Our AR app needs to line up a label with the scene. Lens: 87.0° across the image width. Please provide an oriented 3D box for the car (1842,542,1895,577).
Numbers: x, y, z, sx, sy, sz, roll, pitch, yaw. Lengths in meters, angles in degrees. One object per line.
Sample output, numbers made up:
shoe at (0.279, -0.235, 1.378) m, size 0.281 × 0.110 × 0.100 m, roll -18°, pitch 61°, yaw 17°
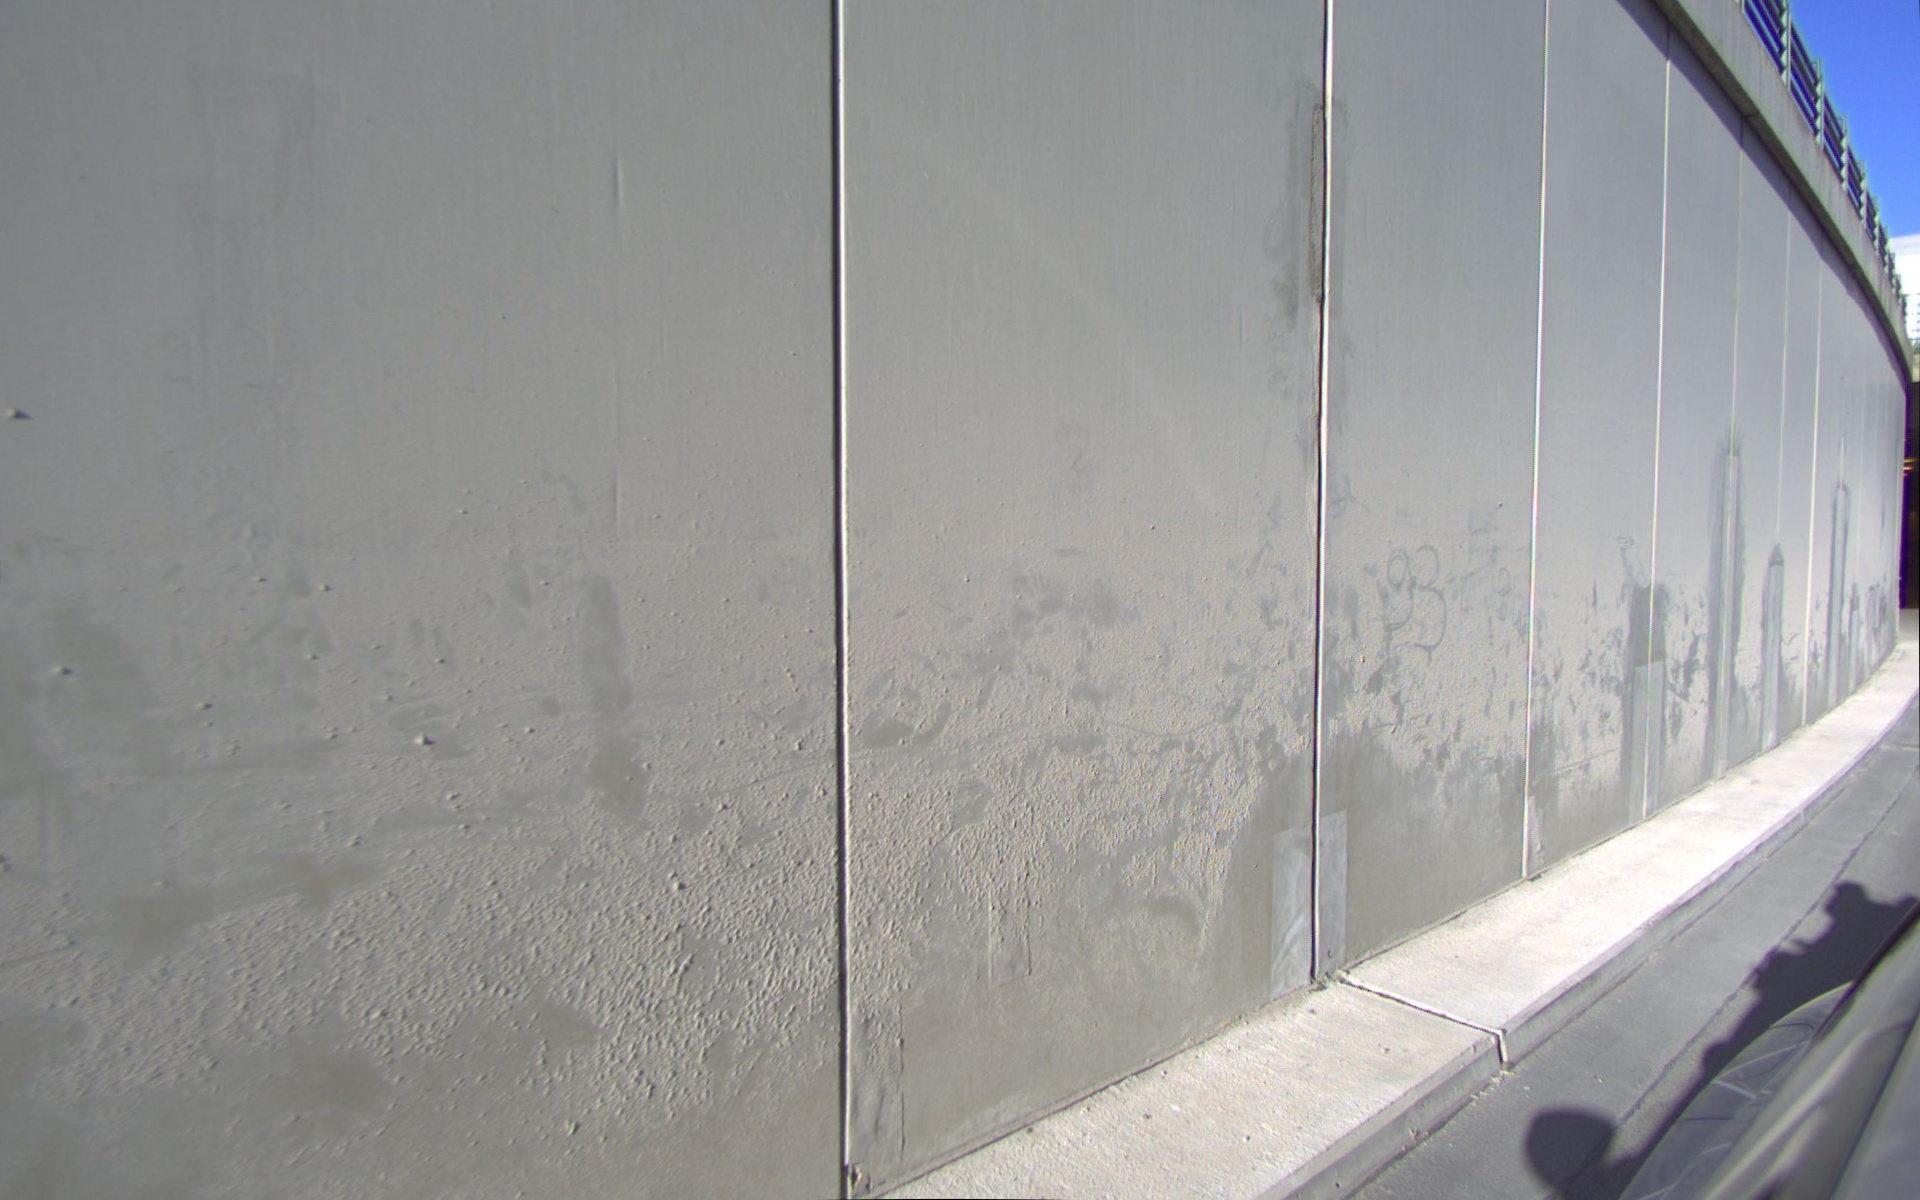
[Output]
car at (45.131, -2.012, 50.334) m, size 1.890 × 1.564 × 4.180 m, roll 0°, pitch 4°, yaw 41°

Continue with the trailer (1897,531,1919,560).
trailer at (69.551, -3.961, 72.963) m, size 2.196 × 2.038 × 3.432 m, roll -1°, pitch 3°, yaw 30°
